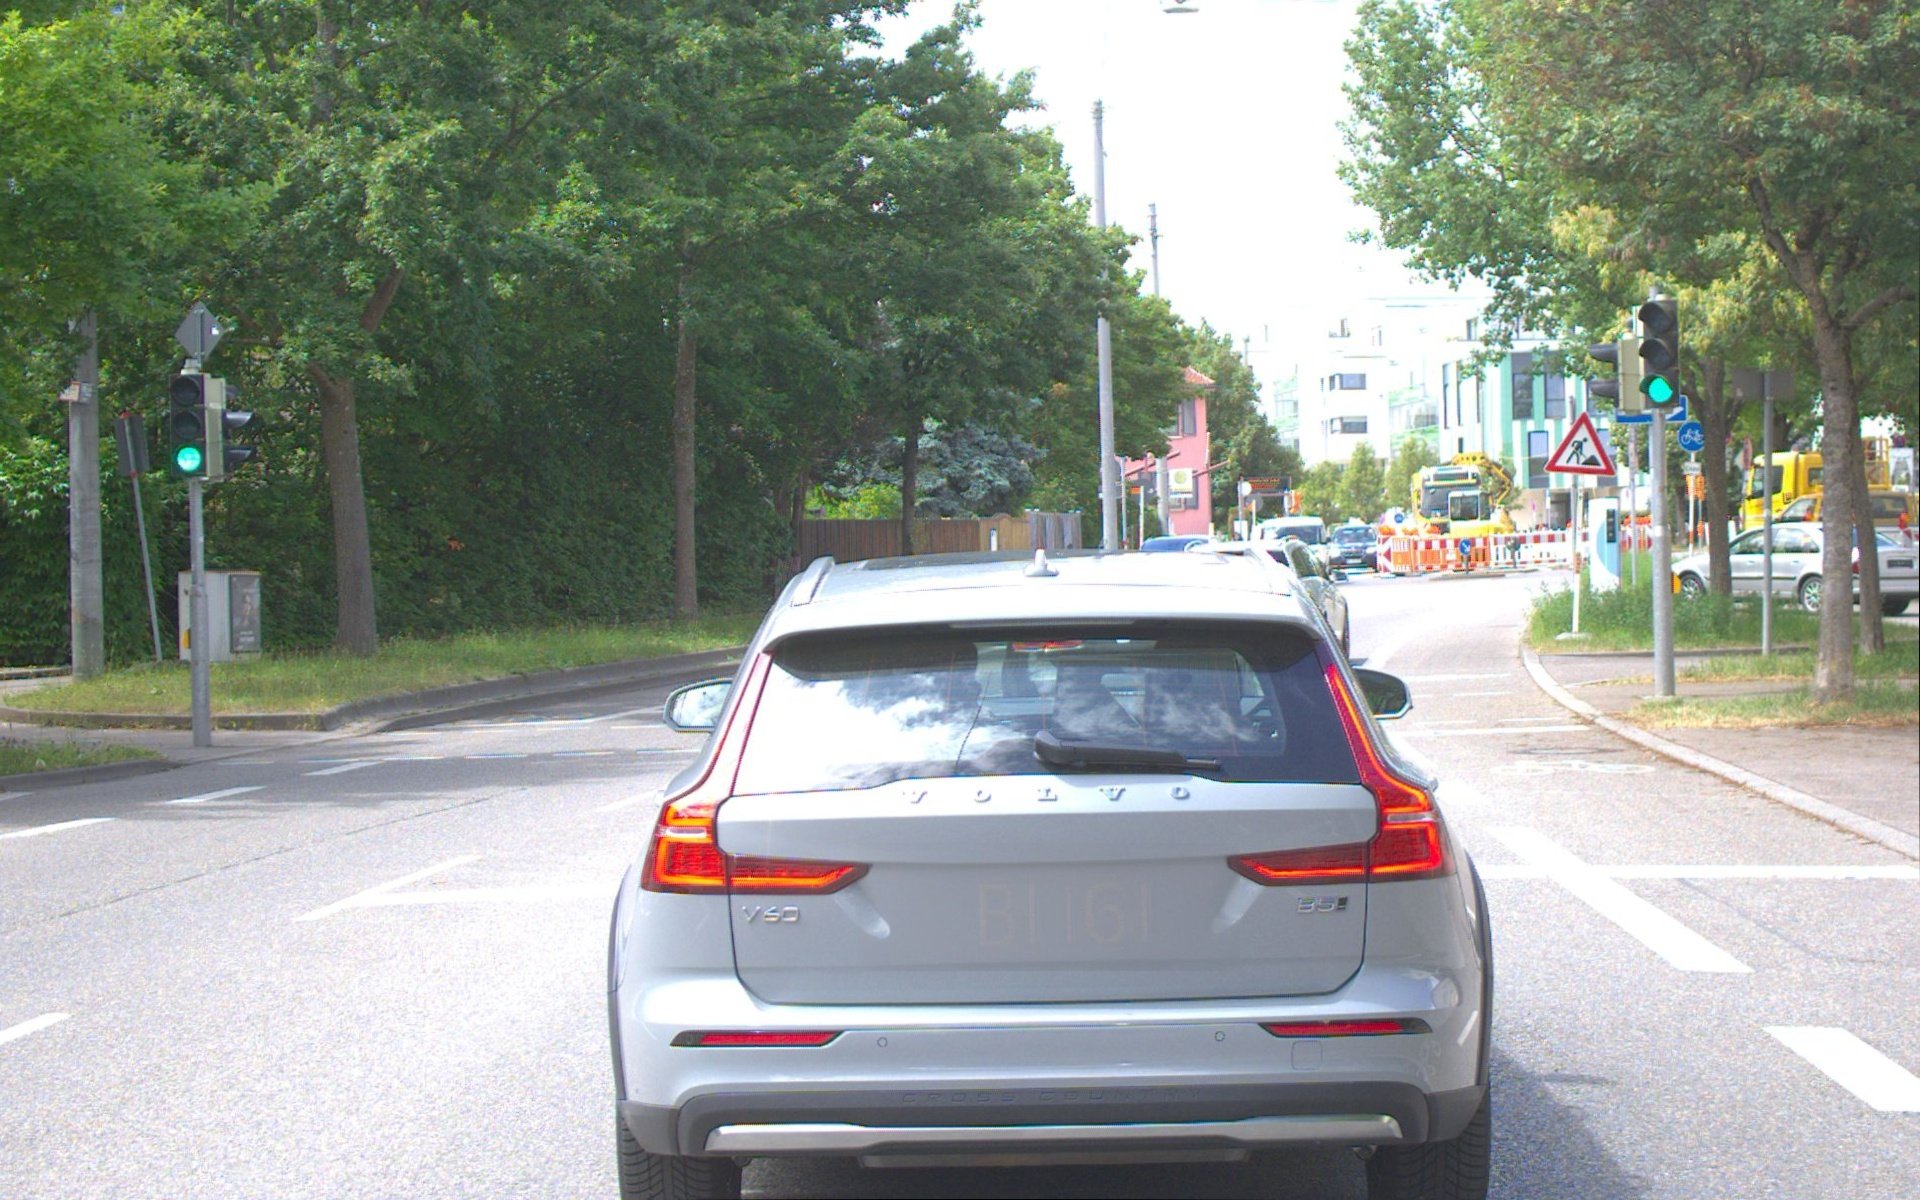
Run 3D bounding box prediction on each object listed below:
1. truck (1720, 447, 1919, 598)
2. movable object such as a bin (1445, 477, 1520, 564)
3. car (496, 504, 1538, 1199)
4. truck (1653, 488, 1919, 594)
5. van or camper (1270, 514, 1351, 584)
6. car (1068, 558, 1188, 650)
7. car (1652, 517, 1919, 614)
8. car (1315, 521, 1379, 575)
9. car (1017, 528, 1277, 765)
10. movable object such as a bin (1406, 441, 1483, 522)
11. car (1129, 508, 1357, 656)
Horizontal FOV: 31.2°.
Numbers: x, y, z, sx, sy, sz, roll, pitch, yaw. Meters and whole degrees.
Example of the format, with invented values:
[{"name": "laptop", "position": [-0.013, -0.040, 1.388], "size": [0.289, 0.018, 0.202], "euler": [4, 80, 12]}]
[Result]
[{"name": "truck", "position": [19.086, -1.547, 70.505], "size": [2.761, 2.998, 6.706], "euler": [1, 0, -34]}, {"name": "movable object such as a bin", "position": [16.587, -2.535, 109.034], "size": [2.035, 2.634, 5.937], "euler": [-2, 1, 11]}, {"name": "car", "position": [0.172, 0.584, 8.412], "size": [1.928, 1.535, 4.000], "euler": [-1, 0, 2]}, {"name": "truck", "position": [16.685, -1.174, 68.793], "size": [1.994, 2.007, 5.677], "euler": [1, 0, -35]}, {"name": "van or camper", "position": [9.376, -1.383, 91.722], "size": [1.861, 1.770, 4.379], "euler": [-1, 1, 10]}, {"name": "car", "position": [3.149, 0.069, 63.734], "size": [1.899, 1.574, 3.999], "euler": [-2, 0, 7]}, {"name": "car", "position": [13.182, -0.565, 54.054], "size": [1.762, 1.447, 4.689], "euler": [-1, 2, -32]}, {"name": "car", "position": [13.185, -1.760, 116.961], "size": [1.994, 1.731, 3.999], "euler": [1, 0, 8]}, {"name": "car", "position": [1.294, 0.294, 24.318], "size": [1.661, 1.503, 3.702], "euler": [1, 0, 2]}, {"name": "movable object such as a bin", "position": [18.608, -4.521, 132.326], "size": [2.310, 2.980, 6.426], "euler": [-2, 1, 3]}, {"name": "car", "position": [3.178, -0.200, 37.881], "size": [2.103, 1.505, 3.998], "euler": [1, 0, 10]}]
